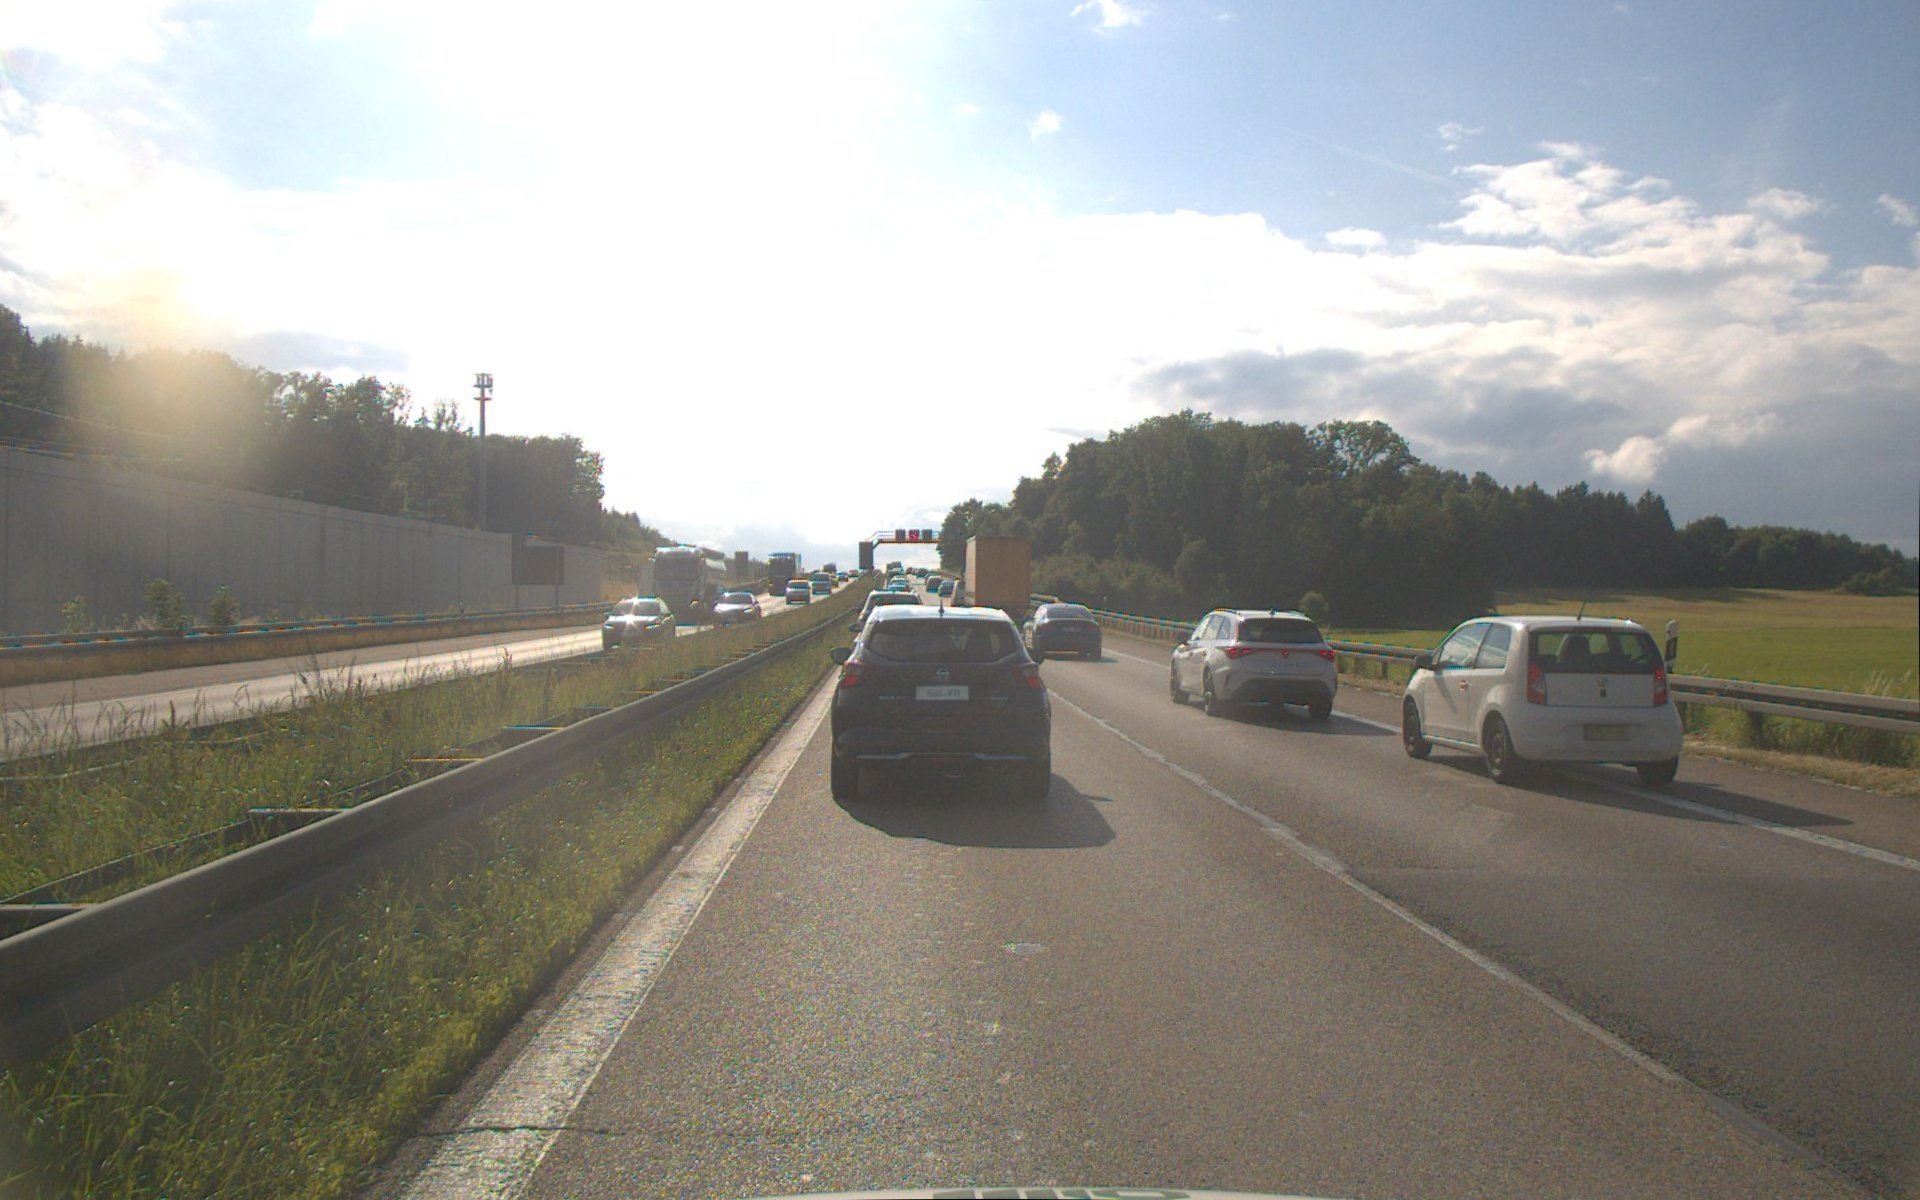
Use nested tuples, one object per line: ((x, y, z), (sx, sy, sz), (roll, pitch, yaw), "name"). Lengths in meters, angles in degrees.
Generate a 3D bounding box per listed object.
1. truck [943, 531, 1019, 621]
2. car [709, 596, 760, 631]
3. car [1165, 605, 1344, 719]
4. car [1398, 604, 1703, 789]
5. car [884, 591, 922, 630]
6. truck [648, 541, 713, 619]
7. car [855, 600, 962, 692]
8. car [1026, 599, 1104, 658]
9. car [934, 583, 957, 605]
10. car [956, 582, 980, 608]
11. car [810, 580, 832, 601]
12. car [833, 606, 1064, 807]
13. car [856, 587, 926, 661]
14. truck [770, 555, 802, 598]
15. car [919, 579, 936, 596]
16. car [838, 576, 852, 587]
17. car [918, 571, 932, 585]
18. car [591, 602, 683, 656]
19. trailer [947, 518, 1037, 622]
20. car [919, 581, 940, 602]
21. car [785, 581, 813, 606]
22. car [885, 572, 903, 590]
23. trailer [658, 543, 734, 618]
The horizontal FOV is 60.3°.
((1.042, -1.197, 86.644), (3.510, 4.456, 6.684), (1, -1, -3), "truck")
((-10.335, 0.626, 76.216), (1.767, 1.543, 4.689), (1, -1, -1), "car")
((4.131, 0.835, 23.769), (1.588, 1.471, 4.143), (1, -1, -4), "car")
((5.480, 0.831, 15.761), (1.518, 1.521, 3.375), (1, 0, -4), "car")
((-3.090, 0.565, 89.169), (1.954, 2.049, 3.997), (1, -1, -3), "car")
((-14.473, -0.975, 85.920), (2.501, 3.865, 5.415), (-1, -1, -2), "truck")
((-0.828, 0.732, 27.318), (1.640, 1.391, 3.595), (1, -1, -1), "car")
((2.769, 0.747, 44.406), (1.711, 1.501, 4.145), (1, -1, -1), "car")
((-1.377, -0.551, 155.658), (1.954, 2.049, 3.997), (1, -1, -3), "car")
((0.546, -0.342, 117.974), (1.633, 1.785, 3.326), (1, -1, -1), "car")
((-13.810, -0.927, 164.633), (1.953, 1.916, 4.785), (-2, 0, -2), "car")
((-0.100, 0.798, 13.809), (1.675, 1.451, 3.377), (1, -1, -1), "car")
((-1.688, 0.590, 41.536), (1.640, 1.756, 3.595), (1, -1, -1), "car")
((-17.226, -2.278, 164.127), (2.698, 4.162, 6.950), (0, -1, -2), "truck")
((-4.040, -1.515, 205.135), (1.954, 2.049, 3.997), (1, -1, -3), "car")
((-16.686, -2.618, 240.705), (1.864, 1.490, 4.181), (1, -1, -3), "car")
((-5.446, -3.430, 257.984), (1.954, 2.049, 3.997), (1, -1, -3), "car")
((-9.592, 0.859, 49.438), (1.953, 1.512, 4.397), (1, -1, -1), "car")
((1.390, -1.279, 79.896), (3.478, 4.535, 12.714), (1, -1, -3), "trailer")
((-3.213, -0.866, 173.658), (1.954, 2.049, 3.997), (1, -1, -3), "car")
((-12.562, -0.458, 129.372), (1.822, 1.866, 4.279), (1, -1, -2), "car")
((-7.594, -2.179, 190.480), (1.954, 2.049, 3.997), (1, -1, -3), "car")
((-14.633, -0.965, 92.685), (2.489, 3.837, 12.536), (-1, -1, -1), "trailer")
